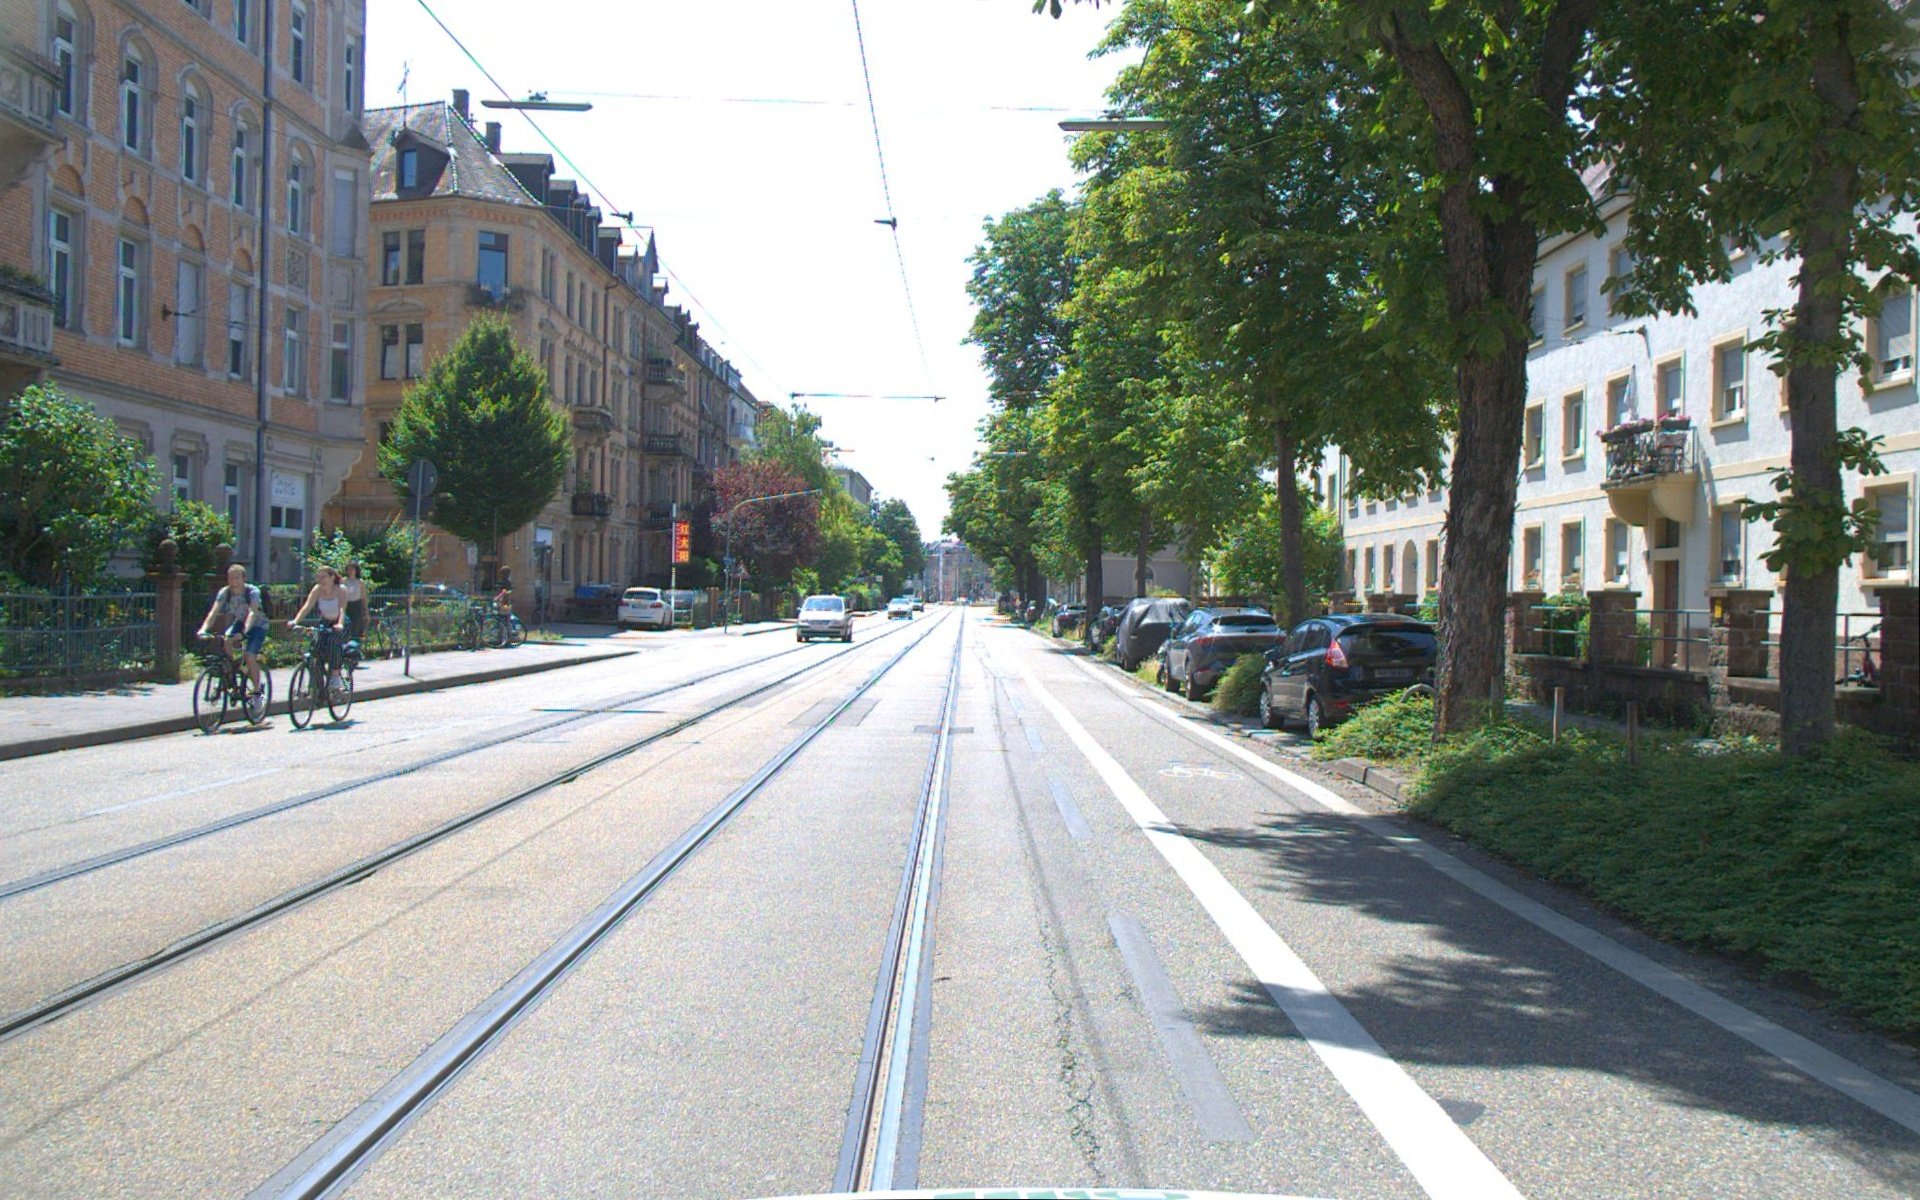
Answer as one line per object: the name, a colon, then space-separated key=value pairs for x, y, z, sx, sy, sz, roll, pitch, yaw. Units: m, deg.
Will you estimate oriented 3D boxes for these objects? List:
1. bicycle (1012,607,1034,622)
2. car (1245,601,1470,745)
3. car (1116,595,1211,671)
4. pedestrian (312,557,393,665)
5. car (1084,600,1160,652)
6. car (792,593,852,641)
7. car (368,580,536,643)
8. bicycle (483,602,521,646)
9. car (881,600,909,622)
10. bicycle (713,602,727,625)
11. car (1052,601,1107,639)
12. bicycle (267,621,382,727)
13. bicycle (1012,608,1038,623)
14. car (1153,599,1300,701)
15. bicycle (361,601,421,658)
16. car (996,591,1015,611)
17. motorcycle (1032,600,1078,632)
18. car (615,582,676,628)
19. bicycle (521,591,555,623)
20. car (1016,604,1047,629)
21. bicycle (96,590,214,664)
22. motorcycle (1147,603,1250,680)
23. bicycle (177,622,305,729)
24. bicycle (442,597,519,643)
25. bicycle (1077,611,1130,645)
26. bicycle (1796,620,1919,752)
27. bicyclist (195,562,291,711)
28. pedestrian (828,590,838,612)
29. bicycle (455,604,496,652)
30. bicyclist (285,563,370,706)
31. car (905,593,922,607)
bicycle: x=5.104 y=1.180 z=134.440 sx=1.779 sy=1.133 sz=0.493 roll=0 pitch=-2 yaw=-1
car: x=4.752 y=0.815 z=20.340 sx=1.623 sy=1.541 sz=3.998 roll=1 pitch=0 yaw=-3
car: x=4.829 y=0.730 z=39.760 sx=1.906 sy=1.679 sz=4.882 roll=1 pitch=0 yaw=3
pedestrian: x=-10.374 y=0.177 z=28.266 sx=0.834 sy=1.753 sz=1.138 roll=4 pitch=0 yaw=0
car: x=4.829 y=0.756 z=49.840 sx=1.660 sy=1.443 sz=4.355 roll=1 pitch=0 yaw=-2
car: x=-4.469 y=0.524 z=53.966 sx=1.650 sy=1.475 sz=4.000 roll=1 pitch=0 yaw=0
car: x=-12.846 y=0.299 z=41.950 sx=3.682 sy=1.453 sz=1.713 roll=2 pitch=-1 yaw=0
bicycle: x=-10.677 y=0.550 z=38.560 sx=0.430 sy=1.000 sz=1.710 roll=1 pitch=0 yaw=-2
car: x=-4.511 y=0.775 z=115.004 sx=1.720 sy=1.449 sz=4.000 roll=1 pitch=0 yaw=1
bicycle: x=-10.669 y=0.599 z=73.663 sx=0.445 sy=1.021 sz=1.805 roll=2 pitch=0 yaw=-3
car: x=4.960 y=0.813 z=69.245 sx=1.733 sy=1.451 sz=4.860 roll=1 pitch=0 yaw=-2
bicycle: x=-7.118 y=0.804 z=18.621 sx=0.569 sy=1.097 sz=1.890 roll=0 pitch=0 yaw=0
bicycle: x=4.721 y=1.124 z=120.114 sx=1.849 sy=1.070 sz=0.538 roll=1 pitch=-1 yaw=7
car: x=4.568 y=0.810 z=28.939 sx=1.697 sy=1.579 sz=4.452 roll=1 pitch=0 yaw=-2
bicycle: x=-10.778 y=0.542 z=31.374 sx=0.486 sy=1.004 sz=1.710 roll=5 pitch=0 yaw=-2
car: x=4.916 y=0.081 z=179.220 sx=1.952 sy=2.071 sz=4.697 roll=1 pitch=0 yaw=0
motorcycle: x=4.861 y=0.814 z=84.605 sx=2.280 sy=1.567 sz=0.864 roll=2 pitch=0 yaw=43
car: x=-12.244 y=0.187 z=64.603 sx=1.829 sy=1.628 sz=4.097 roll=3 pitch=0 yaw=-5
bicycle: x=-16.264 y=0.265 z=63.816 sx=0.625 sy=1.208 sz=2.145 roll=1 pitch=0 yaw=3
car: x=4.595 y=1.030 z=106.143 sx=1.738 sy=1.527 sz=4.304 roll=0 pitch=0 yaw=-1
bicycle: x=-11.963 y=0.401 z=24.596 sx=1.479 sy=1.062 sz=0.495 roll=1 pitch=0 yaw=1
motorcycle: x=4.715 y=0.825 z=32.786 sx=1.877 sy=1.458 sz=0.670 roll=2 pitch=0 yaw=-9
bicycle: x=-7.981 y=0.809 z=18.442 sx=0.616 sy=1.097 sz=1.875 roll=0 pitch=0 yaw=0
bicycle: x=-11.567 y=0.475 z=39.942 sx=1.669 sy=1.055 sz=0.551 roll=2 pitch=0 yaw=4
bicycle: x=4.722 y=0.912 z=54.412 sx=1.621 sy=1.097 sz=0.605 roll=1 pitch=0 yaw=-8
bicycle: x=9.398 y=0.844 z=17.025 sx=0.584 sy=1.231 sz=1.969 roll=-1 pitch=0 yaw=0
bicyclist: x=-7.982 y=0.396 z=18.456 sx=0.621 sy=1.612 sz=1.028 roll=0 pitch=0 yaw=0
pedestrian: x=-9.761 y=0.094 z=126.850 sx=0.736 sy=1.657 sz=0.832 roll=2 pitch=-1 yaw=-5
bicycle: x=-10.693 y=0.604 z=36.518 sx=0.430 sy=1.000 sz=1.710 roll=1 pitch=0 yaw=-2
bicyclist: x=-7.116 y=0.378 z=18.638 sx=0.580 sy=1.571 sz=0.952 roll=0 pitch=0 yaw=0
car: x=-4.887 y=0.000 z=174.511 sx=1.652 sy=1.480 sz=3.748 roll=1 pitch=0 yaw=0
